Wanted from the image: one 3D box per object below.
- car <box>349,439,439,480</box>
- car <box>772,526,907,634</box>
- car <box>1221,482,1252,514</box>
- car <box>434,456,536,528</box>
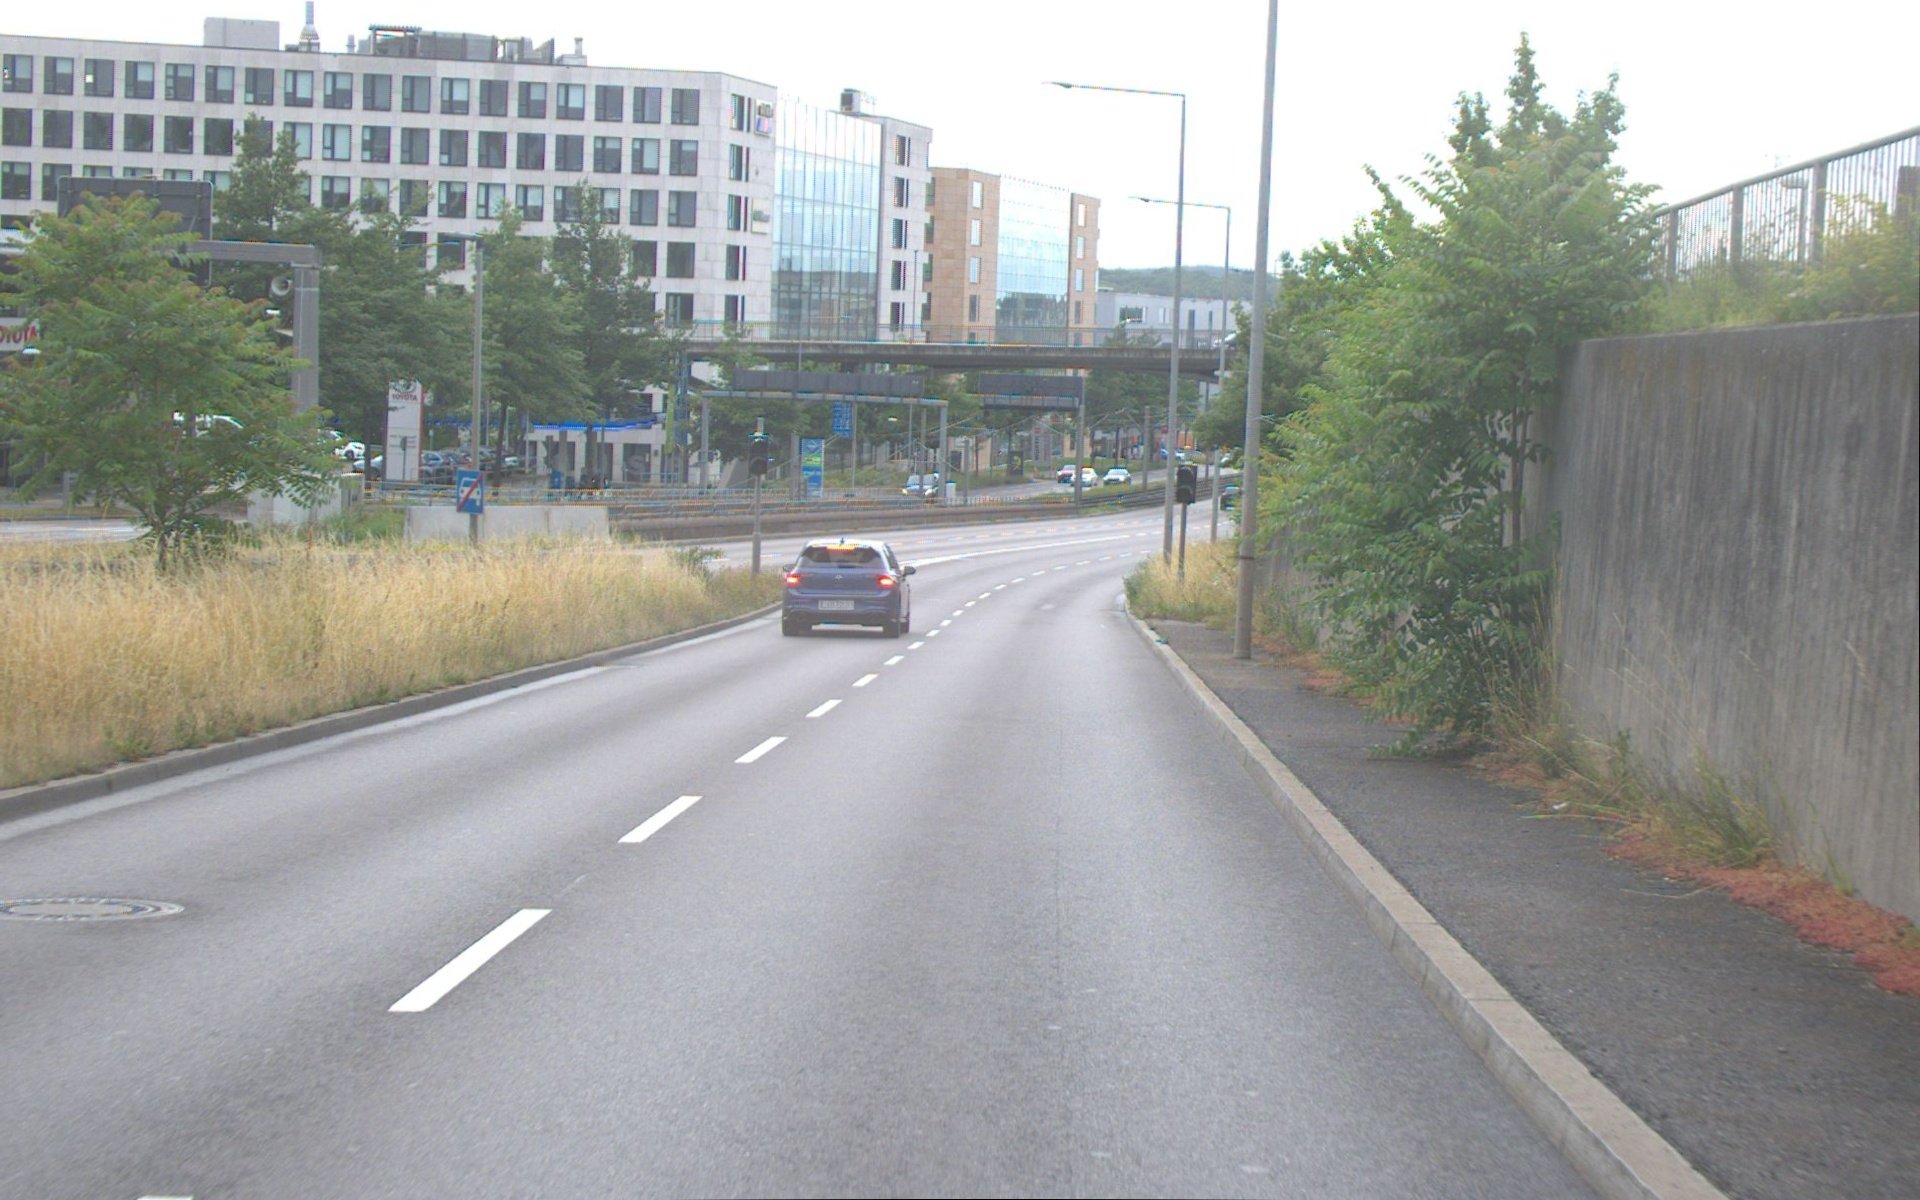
[{"bbox_3d":[-27.895,-6.914,169.368,3.985,1.645,2.001,4,3,-20],"label":"car"},{"bbox_3d":[-1.779,-0.327,51.851,1.749,1.415,3.479,-1,4,3],"label":"car"},{"bbox_3d":[18.588,-6.882,231.152,1.863,1.743,4.000,5,5,6],"label":"car"},{"bbox_3d":[-12.563,-2.884,91.139,1.688,1.584,3.549,5,5,7],"label":"car"}]
